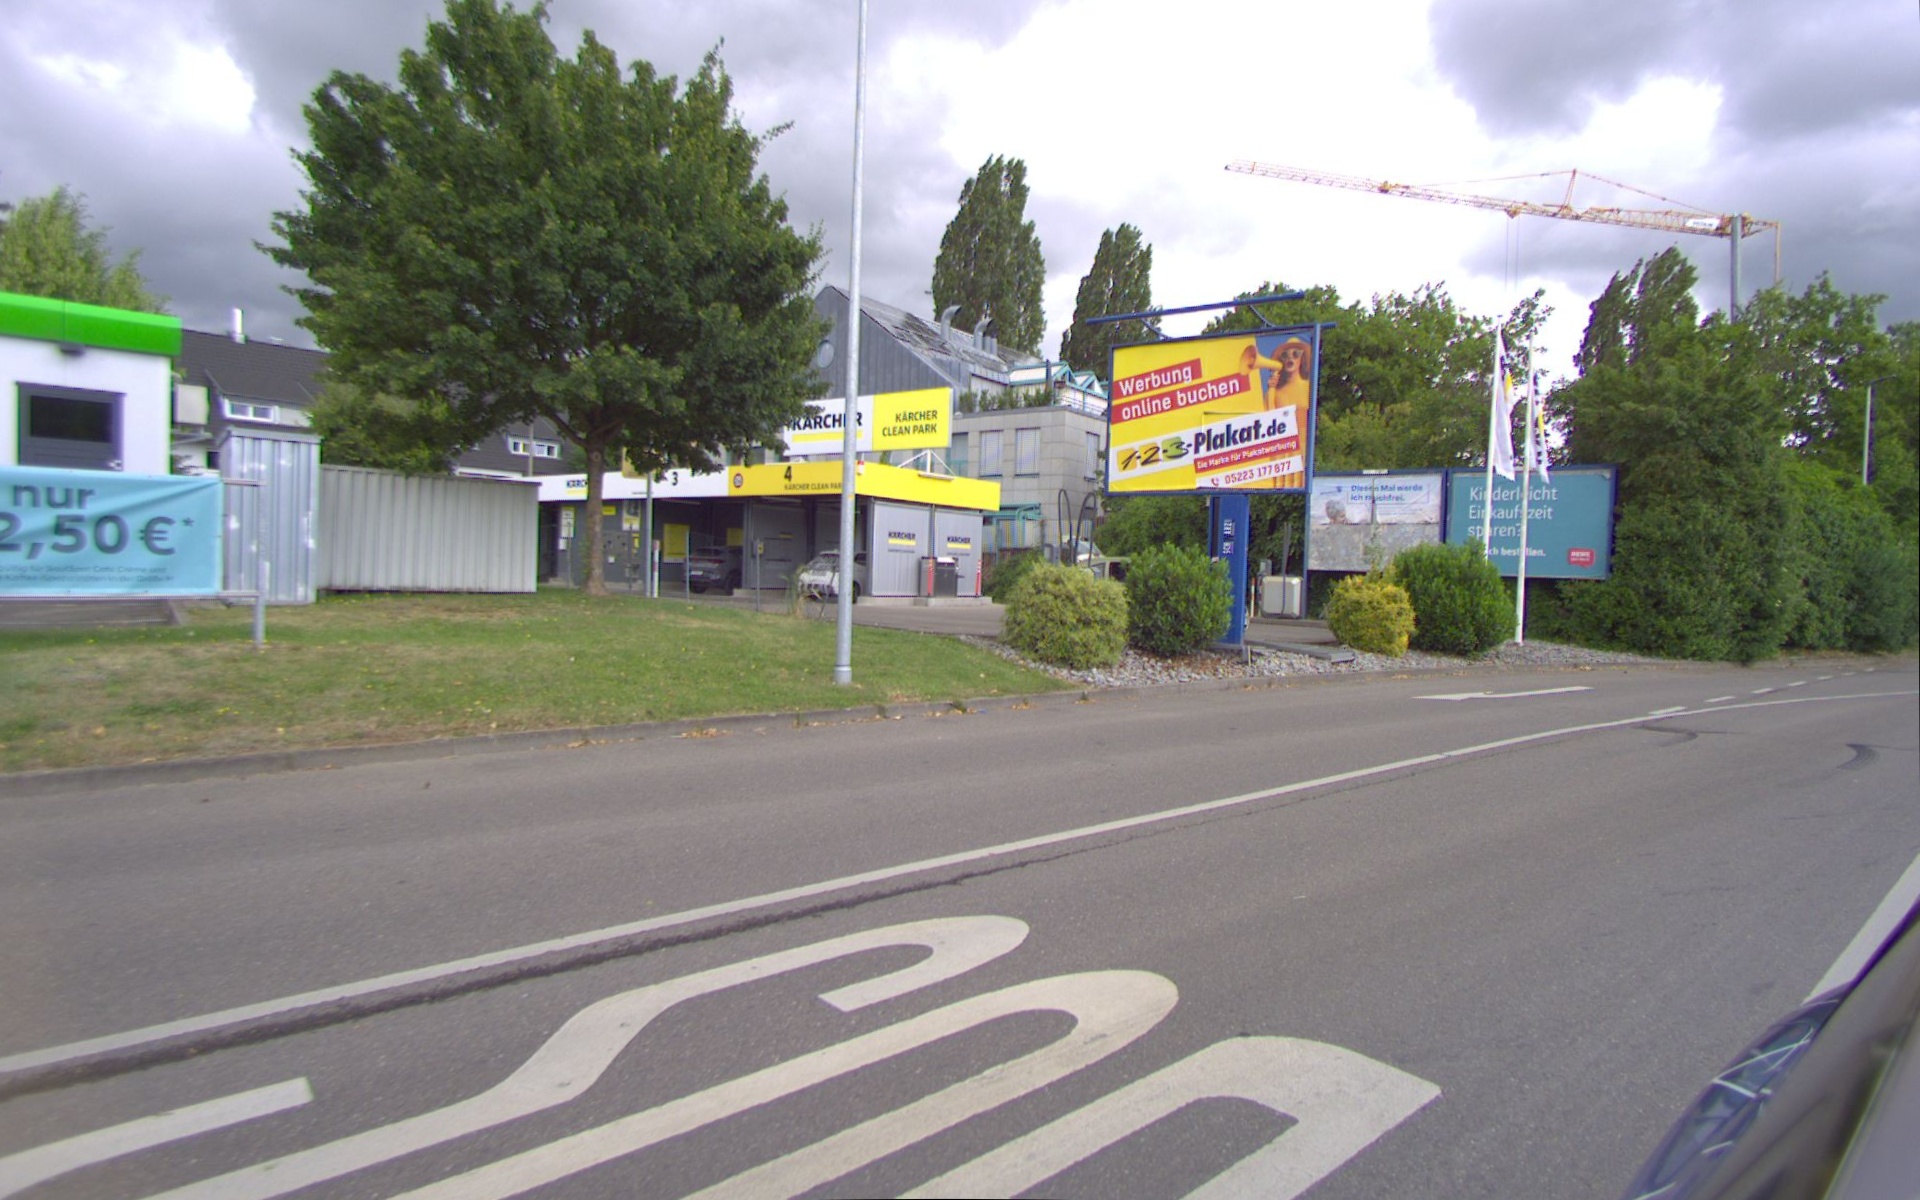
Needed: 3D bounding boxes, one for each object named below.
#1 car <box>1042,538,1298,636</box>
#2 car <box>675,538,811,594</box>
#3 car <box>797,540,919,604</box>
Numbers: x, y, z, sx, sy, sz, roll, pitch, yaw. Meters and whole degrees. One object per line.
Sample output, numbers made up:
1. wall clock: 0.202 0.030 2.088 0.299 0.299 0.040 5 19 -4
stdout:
1. car: 4.115 -0.318 20.005 4.017 1.676 2.900 4 2 43
2. car: -6.667 -1.022 31.390 1.828 1.593 3.880 3 2 36
3. car: -2.852 -0.793 28.802 1.620 1.660 3.490 3 2 32
